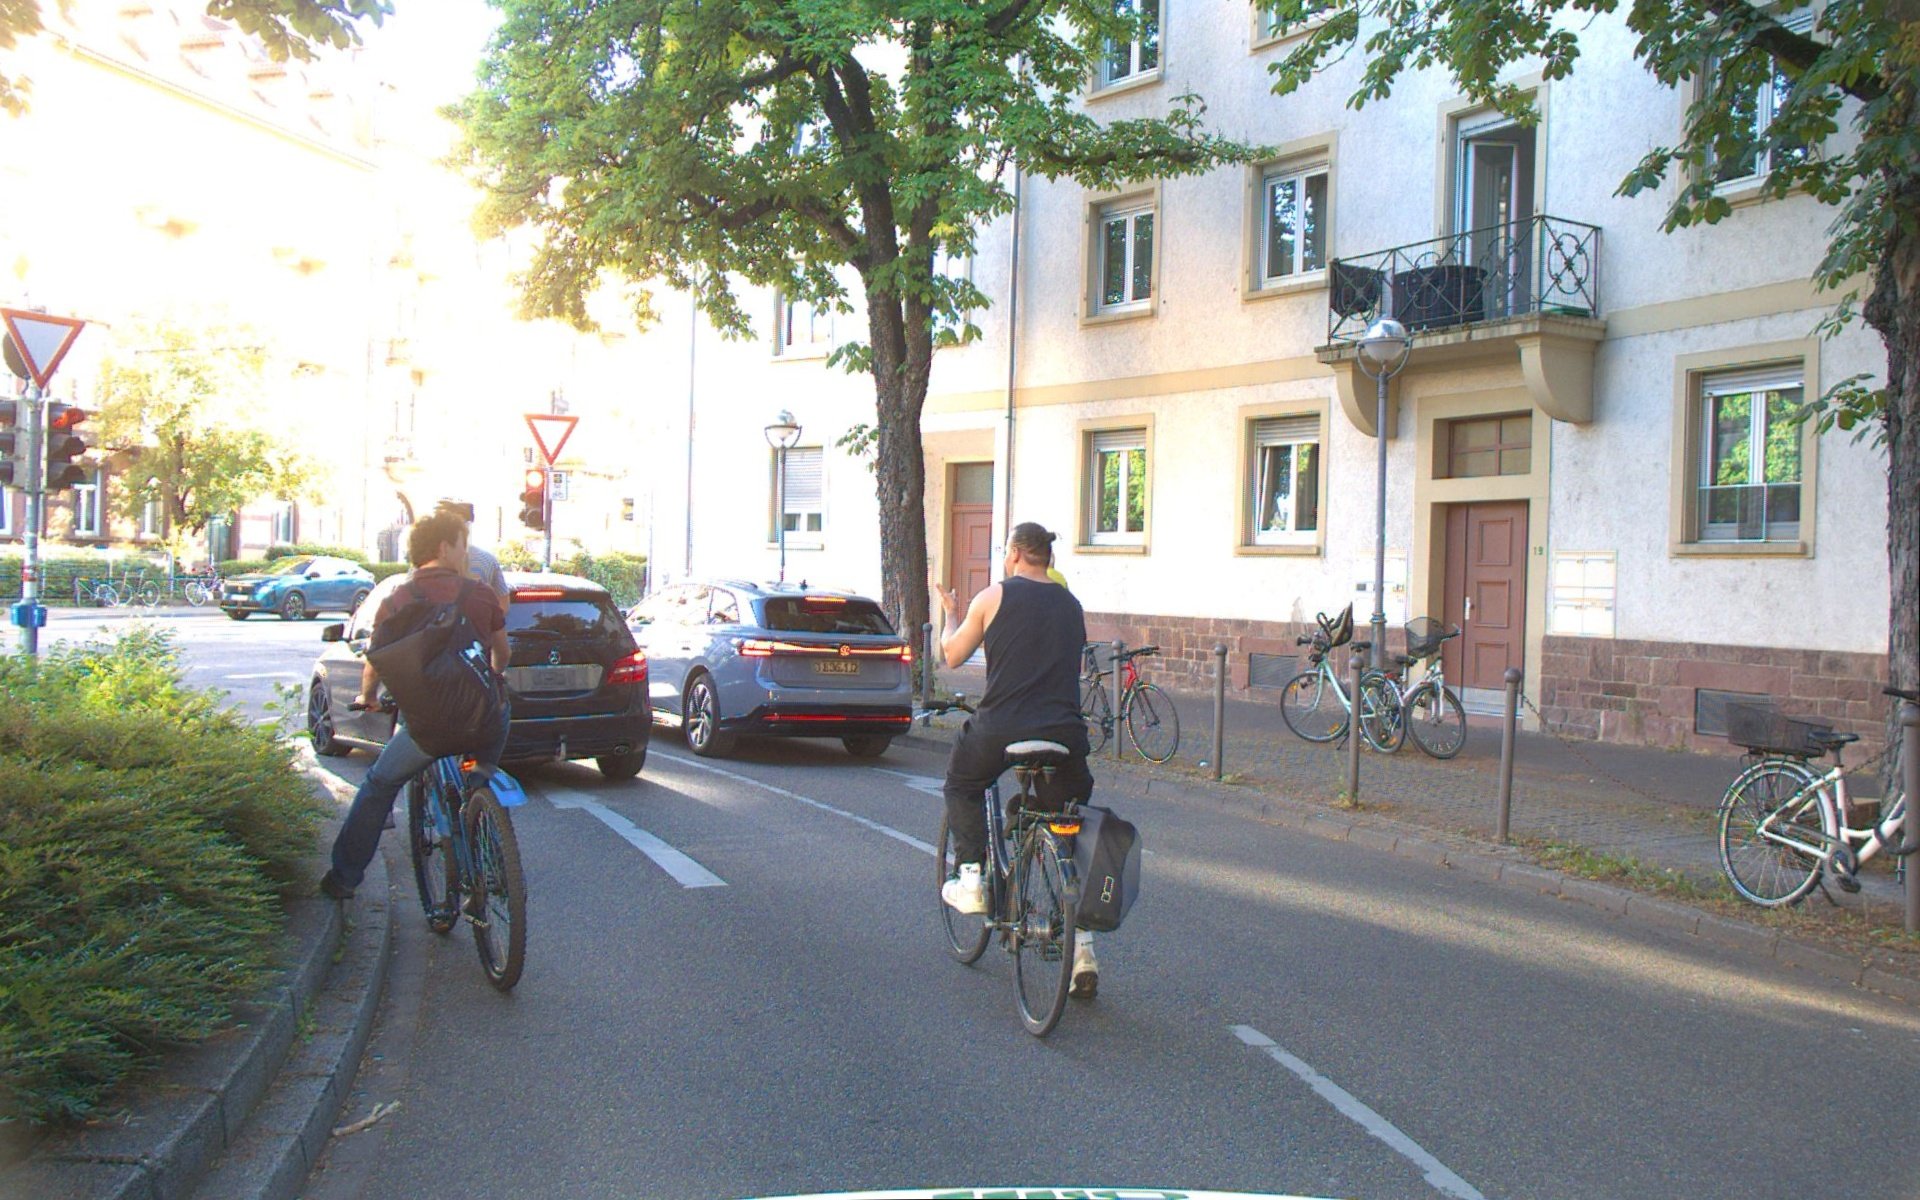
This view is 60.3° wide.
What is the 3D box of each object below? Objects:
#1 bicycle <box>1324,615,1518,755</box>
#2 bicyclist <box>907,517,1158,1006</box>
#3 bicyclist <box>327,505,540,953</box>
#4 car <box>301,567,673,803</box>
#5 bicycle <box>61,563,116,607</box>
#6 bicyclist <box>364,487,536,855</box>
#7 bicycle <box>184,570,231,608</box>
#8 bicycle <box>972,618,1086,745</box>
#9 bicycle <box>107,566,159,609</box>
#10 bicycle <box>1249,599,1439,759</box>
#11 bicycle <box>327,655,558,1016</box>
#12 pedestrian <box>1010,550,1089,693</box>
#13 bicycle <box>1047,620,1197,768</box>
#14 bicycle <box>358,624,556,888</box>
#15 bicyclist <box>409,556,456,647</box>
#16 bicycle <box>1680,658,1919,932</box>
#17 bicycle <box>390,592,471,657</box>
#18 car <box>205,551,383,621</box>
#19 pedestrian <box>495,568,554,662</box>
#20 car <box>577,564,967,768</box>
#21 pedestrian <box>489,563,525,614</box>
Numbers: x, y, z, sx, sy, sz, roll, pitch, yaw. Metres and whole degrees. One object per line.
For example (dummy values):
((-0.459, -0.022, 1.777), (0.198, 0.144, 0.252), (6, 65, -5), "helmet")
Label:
((4.120, 0.735, 14.952), (0.657, 1.126, 1.956), (2, 0, -19), "bicycle")
((0.243, 0.549, 6.266), (0.675, 1.685, 0.985), (0, 1, -15), "bicyclist")
((-2.019, 0.461, 6.455), (0.695, 1.601, 0.953), (1, 0, -14), "bicyclist")
((-3.873, 0.526, 13.134), (1.774, 1.569, 3.814), (-1, 1, -34), "car")
((-22.890, -0.380, 43.453), (0.433, 1.126, 1.233), (3, 0, 22), "bicycle")
((-2.892, 0.375, 9.336), (0.783, 1.946, 0.938), (2, 0, -23), "bicyclist")
((-21.459, -0.302, 47.178), (0.433, 1.056, 1.233), (3, 1, 21), "bicycle")
((0.642, 0.755, 15.998), (0.474, 1.082, 1.625), (-1, 2, -22), "bicycle")
((-22.359, -0.330, 44.731), (0.433, 1.126, 1.233), (3, 1, 22), "bicycle")
((3.423, 0.664, 14.925), (0.707, 1.299, 1.955), (0, 1, -21), "bicycle")
((-2.006, 0.841, 6.643), (0.705, 1.126, 1.960), (2, 0, -13), "bicycle")
((1.131, 0.256, 20.953), (0.635, 1.757, 0.880), (-1, 2, -27), "pedestrian")
((1.379, 0.780, 14.416), (0.519, 1.126, 1.728), (-1, 2, -24), "bicycle")
((-2.851, 0.779, 9.200), (0.799, 1.205, 2.211), (2, 1, -23), "bicycle")
((-9.647, 0.019, 30.277), (0.517, 1.626, 0.675), (2, 0, 11), "bicyclist")
((4.276, 0.881, 7.675), (0.505, 1.114, 1.962), (0, 1, -20), "bicycle")
((-9.657, 0.428, 30.248), (0.523, 1.126, 1.968), (2, 0, 10), "bicycle")
((-17.200, -0.358, 42.956), (1.901, 1.678, 4.413), (2, 1, 17), "car")
((-8.032, 0.273, 30.509), (0.889, 1.663, 0.721), (3, 1, -21), "pedestrian")
((-1.948, 0.548, 15.750), (1.951, 1.613, 4.427), (4, -1, -32), "car")
((-15.747, -0.399, 57.518), (0.698, 1.693, 0.895), (5, 2, 33), "pedestrian")
